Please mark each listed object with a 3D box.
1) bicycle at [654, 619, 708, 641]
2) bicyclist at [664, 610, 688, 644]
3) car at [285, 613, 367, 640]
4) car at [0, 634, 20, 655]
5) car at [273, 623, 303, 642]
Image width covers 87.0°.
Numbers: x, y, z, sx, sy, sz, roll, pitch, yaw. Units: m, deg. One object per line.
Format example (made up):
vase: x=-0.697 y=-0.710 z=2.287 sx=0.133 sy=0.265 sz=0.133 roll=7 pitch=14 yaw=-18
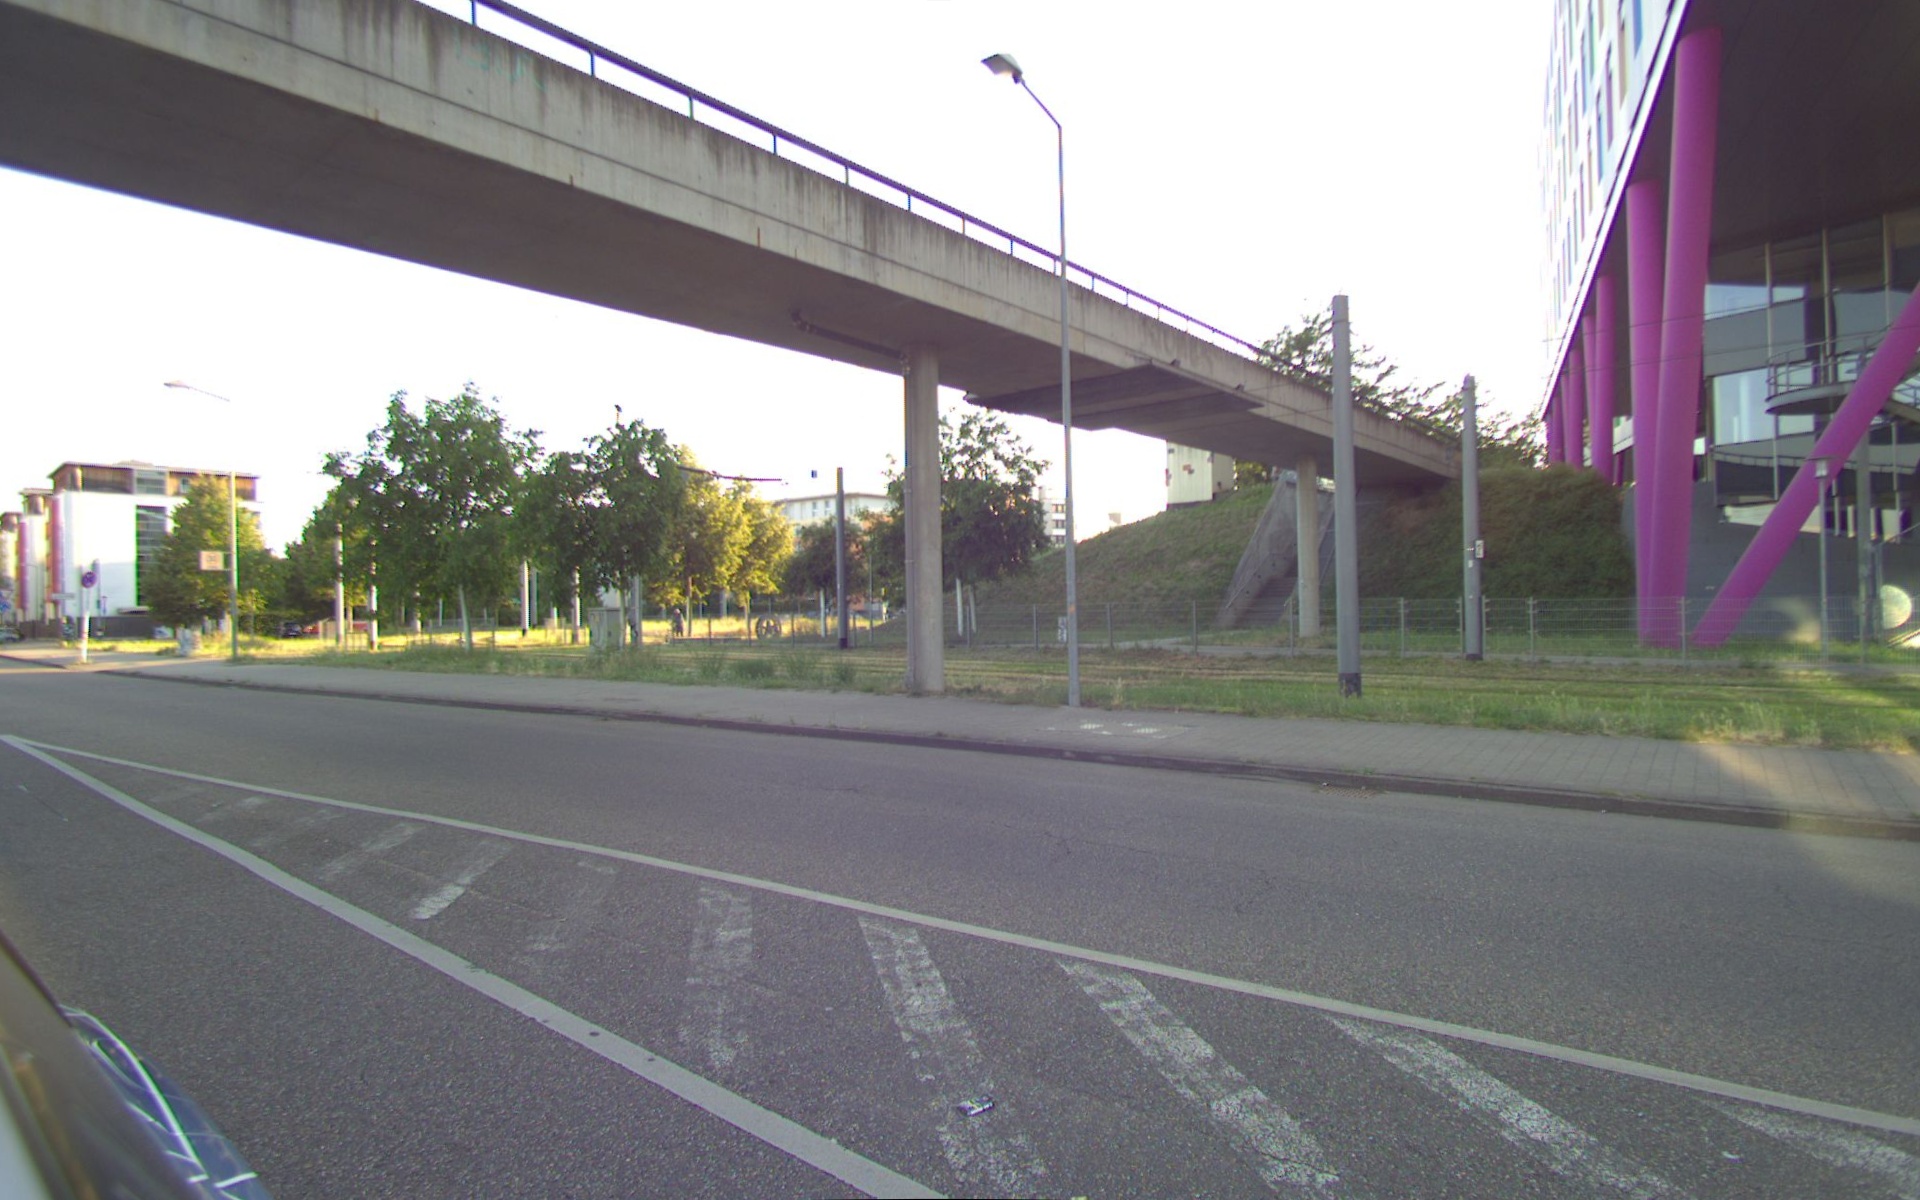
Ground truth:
bicycle: x=-13.833 y=1.497 z=50.274 sx=0.654 sy=1.016 sz=2.808 roll=-2 pitch=-1 yaw=36
bicyclist: x=-14.033 y=1.330 z=50.008 sx=0.716 sy=1.644 sz=0.899 roll=-2 pitch=-1 yaw=35
car: x=-51.733 y=2.152 z=82.686 sx=5.439 sy=2.029 sz=2.003 roll=-1 pitch=-1 yaw=-40
car: x=-80.576 y=3.742 z=83.738 sx=2.000 sy=1.741 sz=3.944 roll=-2 pitch=-1 yaw=42
car: x=-56.915 y=2.736 z=85.693 sx=1.913 sy=1.541 sz=4.009 roll=-1 pitch=-1 yaw=-36
